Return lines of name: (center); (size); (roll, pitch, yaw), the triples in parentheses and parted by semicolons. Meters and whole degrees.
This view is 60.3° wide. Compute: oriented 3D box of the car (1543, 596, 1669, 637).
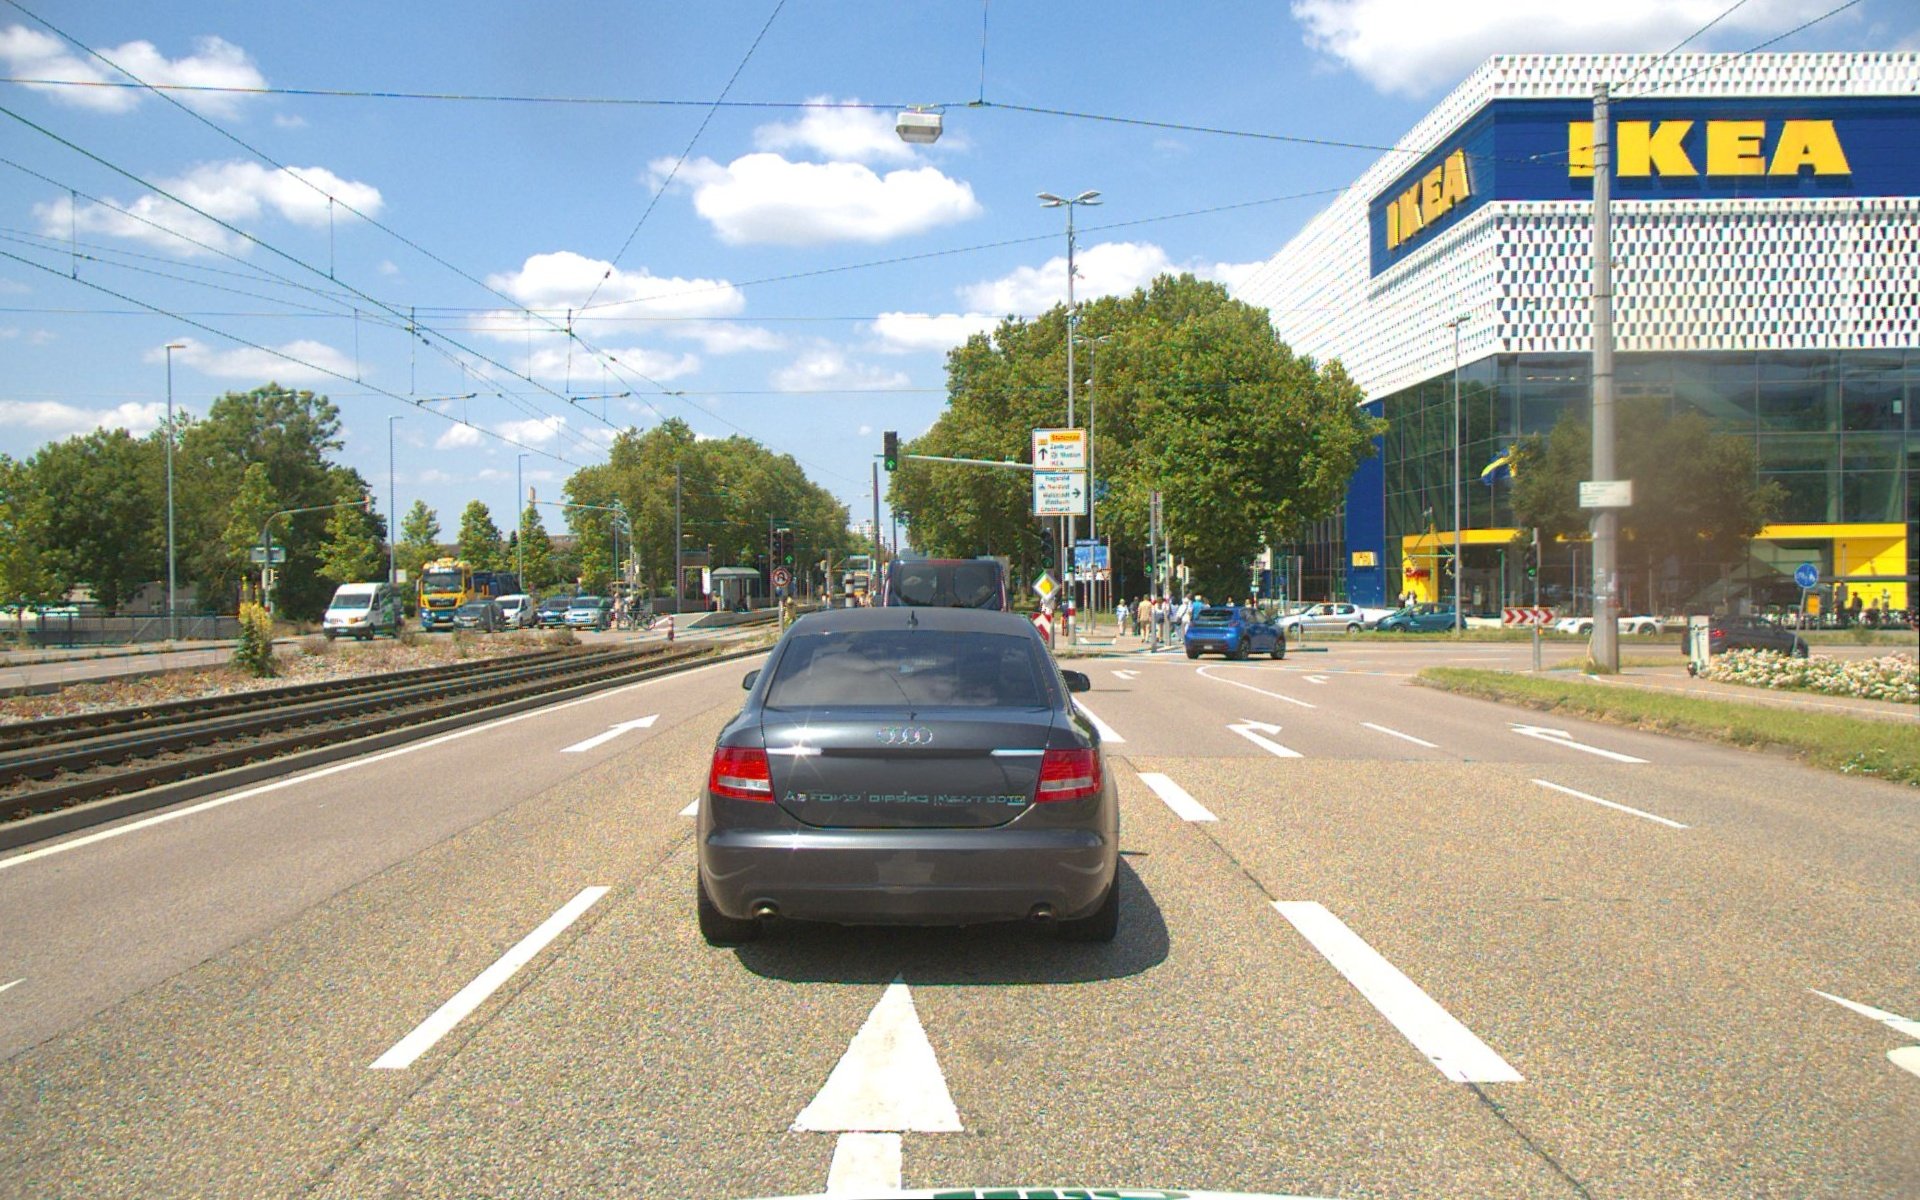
car: (26.428, 0.659, 67.764); (4.403, 1.512, 2.001); (2, 0, 3)

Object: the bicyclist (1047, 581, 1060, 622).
bicyclist: (4.190, 0.069, 74.119); (0.518, 1.820, 1.088); (0, 0, -1)

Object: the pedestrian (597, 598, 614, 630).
pedestrian: (-16.376, 0.648, 76.340); (0.671, 1.468, 0.572); (0, 0, -4)

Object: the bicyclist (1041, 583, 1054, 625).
bicyclist: (3.754, 0.173, 71.130); (0.518, 1.820, 1.088); (0, 0, 0)

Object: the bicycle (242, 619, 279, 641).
bicycle: (-31.819, 1.372, 75.274); (1.461, 1.004, 0.485); (1, 0, -5)

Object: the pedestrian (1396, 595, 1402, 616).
pedestrian: (27.973, 0.366, 105.358); (0.283, 1.366, 0.266); (0, 0, -1)

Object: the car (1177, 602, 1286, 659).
car: (7.668, 0.828, 46.426); (1.802, 1.480, 3.994); (2, 0, 29)

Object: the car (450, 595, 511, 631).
car: (-23.979, 0.613, 82.872); (1.785, 1.699, 4.460); (1, 0, -1)

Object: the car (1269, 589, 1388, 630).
car: (15.007, 0.372, 67.532); (4.403, 1.512, 2.001); (2, 0, 3)

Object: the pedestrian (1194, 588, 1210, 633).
pedestrian: (9.141, 0.403, 62.512); (0.510, 1.699, 0.494); (1, 0, 2)

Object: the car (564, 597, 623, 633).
car: (-18.419, 0.712, 83.262); (1.784, 1.699, 4.462); (1, 0, 2)

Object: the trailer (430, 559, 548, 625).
trailer: (-27.931, -0.449, 99.086); (2.711, 3.580, 15.875); (0, 0, -1)

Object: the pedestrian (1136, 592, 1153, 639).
pedestrian: (6.621, 0.563, 59.330); (0.542, 1.663, 0.433); (1, 0, 2)

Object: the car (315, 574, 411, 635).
car: (-27.429, 0.158, 76.286); (2.198, 2.634, 6.233); (-2, 1, -2)

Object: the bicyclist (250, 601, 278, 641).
bicyclist: (-31.654, 0.970, 75.254); (1.097, 1.805, 0.340); (1, 0, -6)

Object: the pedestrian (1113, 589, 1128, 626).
pedestrian: (6.752, 0.297, 69.395); (0.483, 1.546, 0.707); (0, 0, 17)

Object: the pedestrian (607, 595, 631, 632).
pedestrian: (-16.316, 0.660, 79.091); (0.806, 1.750, 0.775); (0, 0, 21)

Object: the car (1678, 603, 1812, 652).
car: (25.545, 0.872, 53.840); (4.030, 1.553, 1.754); (0, 0, -23)

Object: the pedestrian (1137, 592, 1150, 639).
pedestrian: (6.592, 0.554, 59.345); (0.435, 1.663, 0.430); (1, 0, 2)

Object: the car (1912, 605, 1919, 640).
car: (43.799, 1.016, 71.220); (4.403, 1.512, 2.001); (1, 0, 3)

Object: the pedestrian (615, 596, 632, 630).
pedestrian: (-15.752, 0.601, 77.460); (0.671, 1.592, 0.572); (0, 0, -4)

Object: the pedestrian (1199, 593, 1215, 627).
pedestrian: (12.210, 0.488, 81.689); (0.690, 1.663, 0.612); (1, 0, 18)

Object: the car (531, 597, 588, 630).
car: (-21.508, 0.712, 88.969); (1.784, 1.699, 4.462); (1, 0, 2)

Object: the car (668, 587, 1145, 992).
car: (-0.214, 0.683, 8.095); (1.756, 1.480, 4.000); (0, 0, -1)

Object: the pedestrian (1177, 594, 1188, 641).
pedestrian: (7.804, 0.617, 58.035); (0.314, 1.663, 0.377); (1, 0, 2)

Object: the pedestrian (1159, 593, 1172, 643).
pedestrian: (6.808, 0.601, 54.866); (0.373, 1.663, 0.377); (1, 0, 2)

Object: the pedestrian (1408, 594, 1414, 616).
pedestrian: (28.528, 0.326, 104.555); (0.283, 1.366, 0.266); (0, 0, -1)

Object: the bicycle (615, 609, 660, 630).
bicycle: (-14.713, 0.886, 75.500); (2.019, 0.941, 0.751); (0, 0, -11)

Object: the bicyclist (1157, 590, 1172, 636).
bicyclist: (8.003, 0.517, 64.623); (0.517, 1.795, 0.828); (0, 0, 13)

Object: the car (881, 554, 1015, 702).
car: (-0.193, 0.386, 24.221); (1.799, 1.984, 3.999); (0, 0, -1)

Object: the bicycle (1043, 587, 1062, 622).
bicycle: (4.192, 0.206, 74.753); (0.673, 1.545, 2.751); (1, 0, 0)

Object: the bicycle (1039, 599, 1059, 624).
bicycle: (3.813, 0.480, 70.937); (0.673, 1.011, 2.751); (1, 0, 0)

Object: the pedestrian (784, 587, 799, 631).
pedestrian: (-8.012, 0.422, 78.598); (0.672, 2.049, 0.572); (0, 0, -5)

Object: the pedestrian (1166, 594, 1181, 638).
pedestrian: (8.008, 0.595, 61.983); (0.493, 1.663, 0.449); (1, 0, 2)

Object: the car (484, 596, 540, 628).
car: (-24.452, 0.636, 90.421); (1.785, 1.699, 4.461); (1, 0, 1)

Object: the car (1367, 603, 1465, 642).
car: (19.519, 0.963, 70.905); (3.710, 1.512, 2.001); (2, 0, 3)

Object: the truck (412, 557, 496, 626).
truck: (-27.804, -0.458, 91.141); (2.711, 3.631, 6.438); (0, 0, -1)

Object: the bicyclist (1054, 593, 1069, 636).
bicyclist: (4.059, 0.590, 66.245); (0.518, 1.705, 1.088); (0, 0, -1)

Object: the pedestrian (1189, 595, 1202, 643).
pedestrian: (8.257, 0.665, 58.051); (0.389, 1.663, 0.371); (1, 0, 2)
